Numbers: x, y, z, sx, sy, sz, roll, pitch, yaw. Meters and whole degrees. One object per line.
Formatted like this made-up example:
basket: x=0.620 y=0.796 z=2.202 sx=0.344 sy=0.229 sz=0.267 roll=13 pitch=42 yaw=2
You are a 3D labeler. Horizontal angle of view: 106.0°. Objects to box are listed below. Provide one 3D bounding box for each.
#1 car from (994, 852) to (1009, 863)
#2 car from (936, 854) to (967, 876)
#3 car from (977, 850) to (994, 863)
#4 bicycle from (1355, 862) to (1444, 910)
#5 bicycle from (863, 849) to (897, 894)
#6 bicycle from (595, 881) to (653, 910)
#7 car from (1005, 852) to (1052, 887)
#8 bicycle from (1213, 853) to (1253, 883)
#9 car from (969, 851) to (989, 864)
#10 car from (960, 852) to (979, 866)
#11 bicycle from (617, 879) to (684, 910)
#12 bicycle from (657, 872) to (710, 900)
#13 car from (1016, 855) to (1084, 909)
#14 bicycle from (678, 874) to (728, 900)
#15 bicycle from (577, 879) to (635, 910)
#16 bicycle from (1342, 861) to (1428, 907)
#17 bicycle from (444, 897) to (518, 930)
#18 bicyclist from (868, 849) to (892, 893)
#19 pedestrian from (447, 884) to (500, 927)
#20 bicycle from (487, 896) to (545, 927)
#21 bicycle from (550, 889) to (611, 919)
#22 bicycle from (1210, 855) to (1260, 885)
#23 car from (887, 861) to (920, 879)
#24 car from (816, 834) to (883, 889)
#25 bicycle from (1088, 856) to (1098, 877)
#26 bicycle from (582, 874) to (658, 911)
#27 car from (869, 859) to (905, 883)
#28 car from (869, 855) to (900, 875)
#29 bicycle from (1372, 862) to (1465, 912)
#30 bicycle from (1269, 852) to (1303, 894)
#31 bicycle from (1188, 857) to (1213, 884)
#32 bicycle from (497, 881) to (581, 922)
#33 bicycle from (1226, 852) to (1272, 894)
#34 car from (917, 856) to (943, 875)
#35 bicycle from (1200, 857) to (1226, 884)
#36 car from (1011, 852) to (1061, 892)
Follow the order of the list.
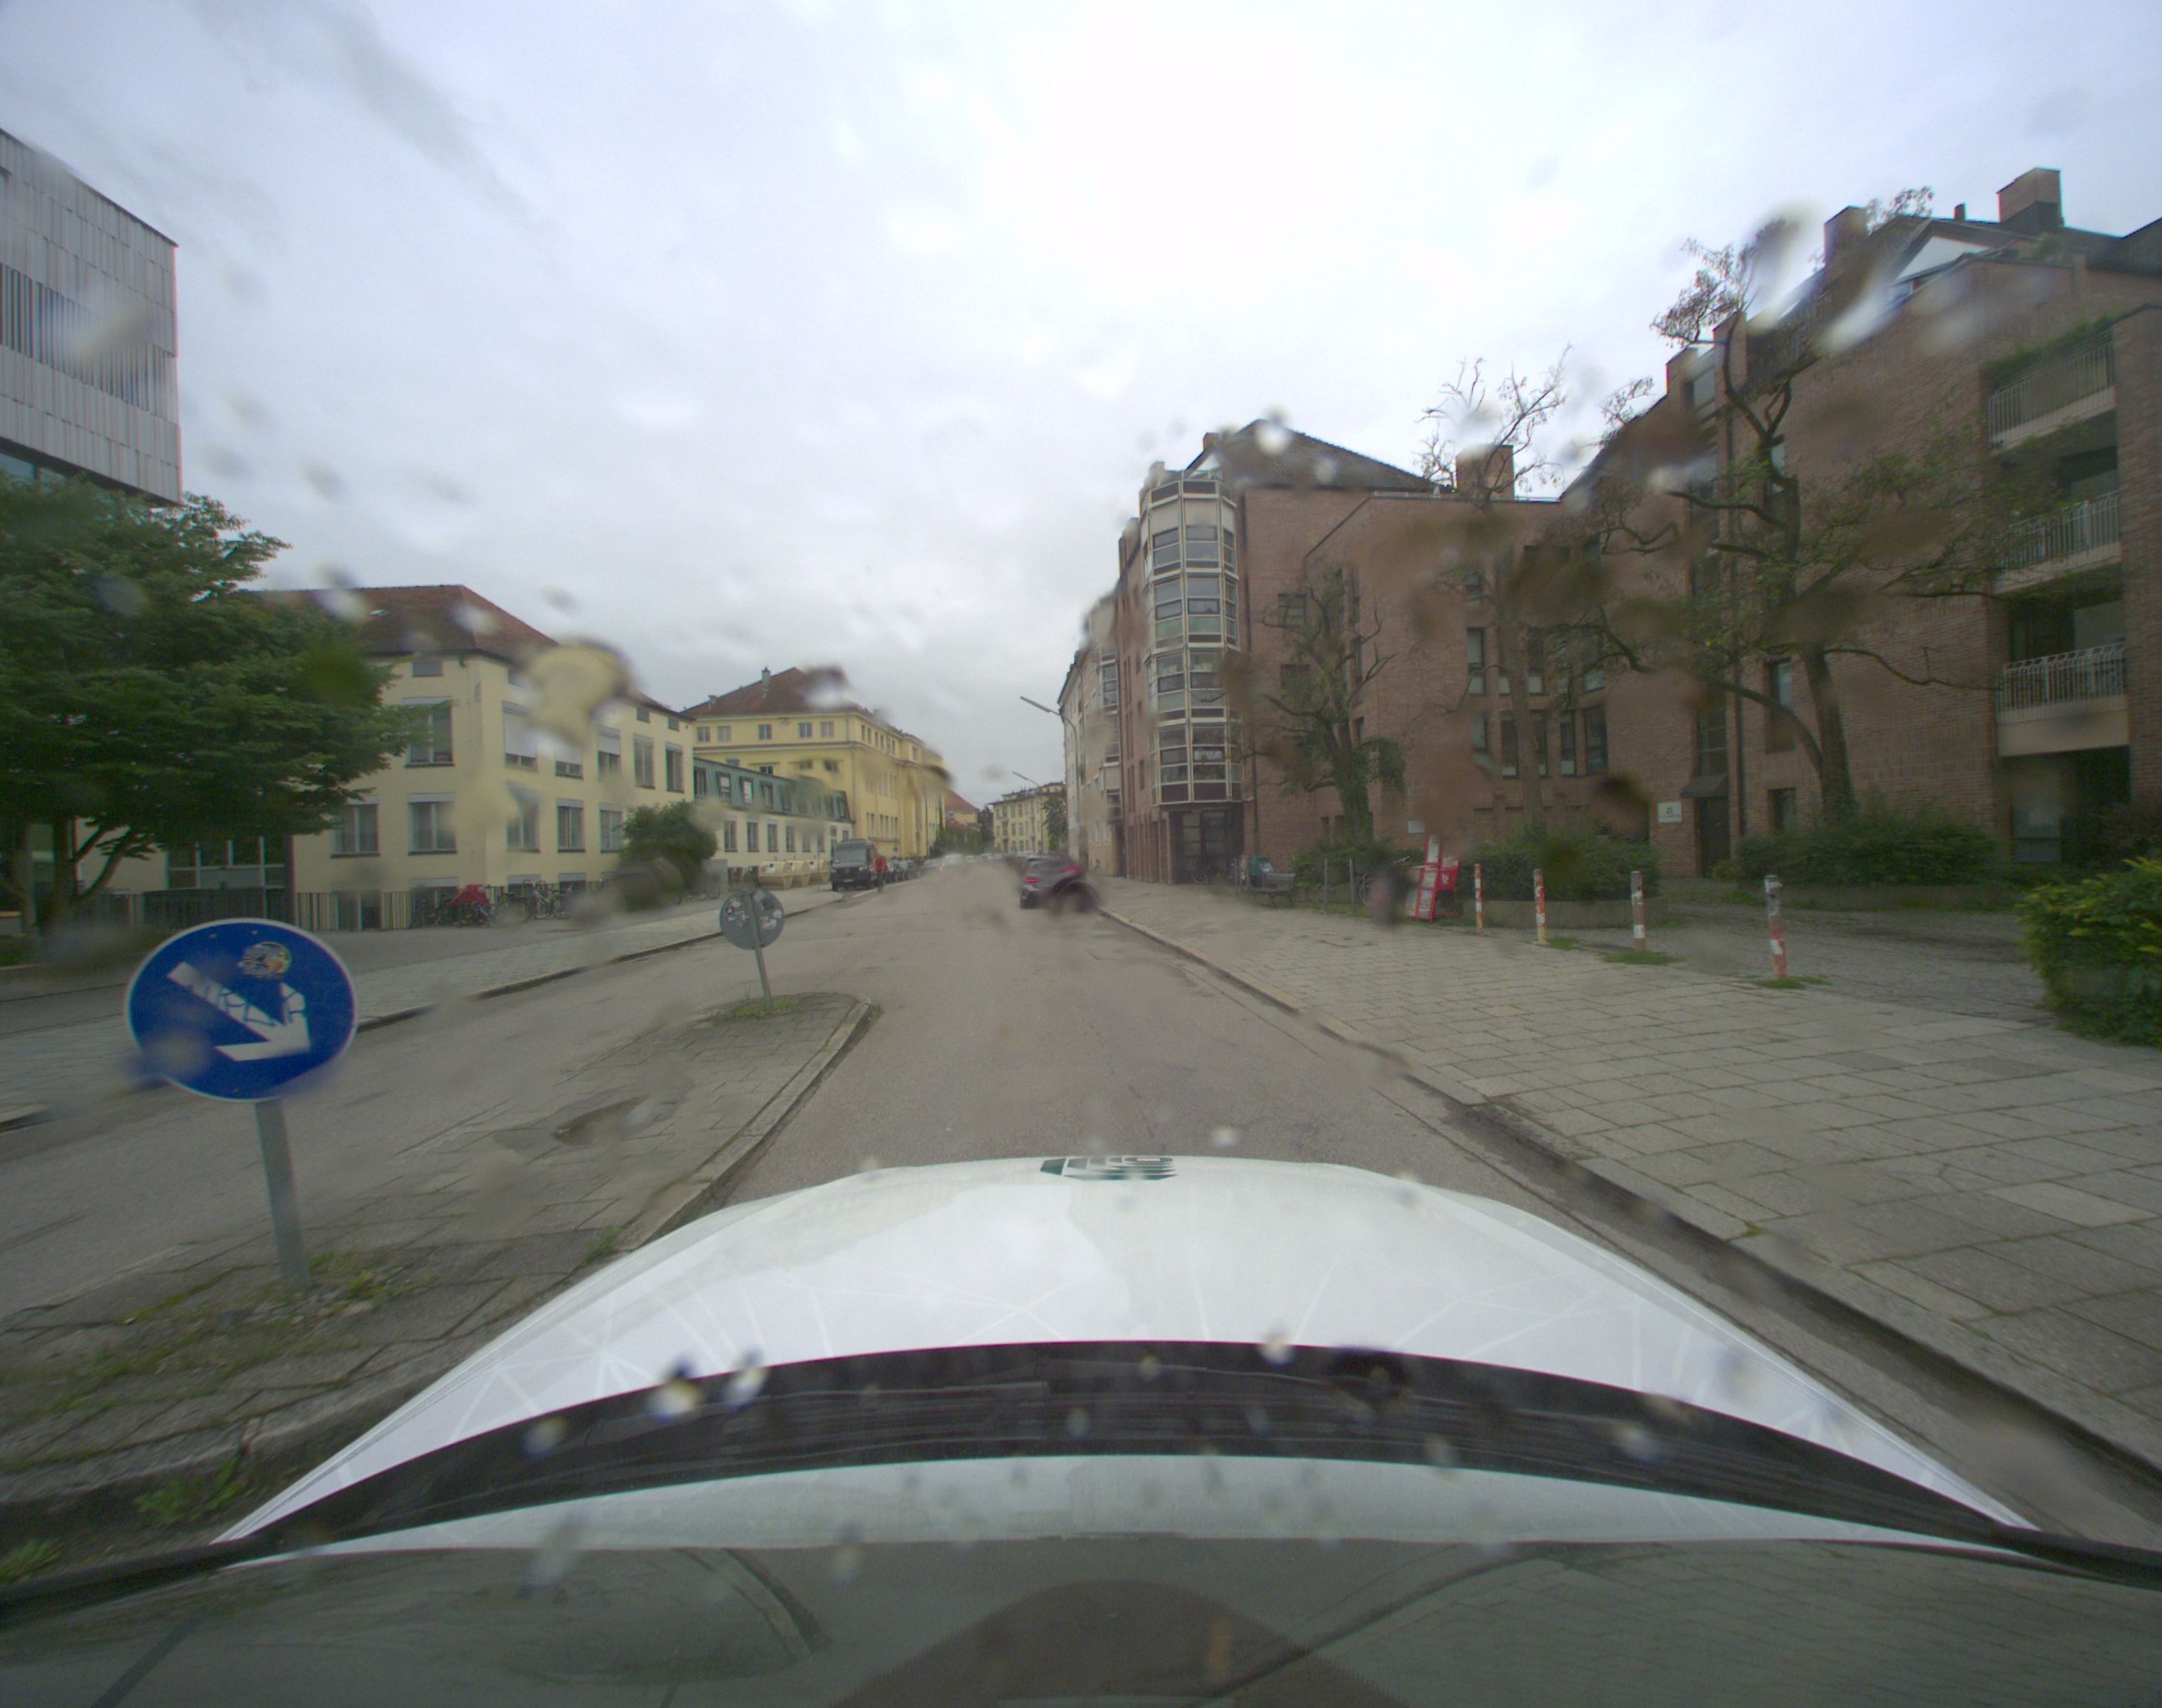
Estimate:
car: x=-12.052 y=0.532 z=123.269 sx=1.988 sy=1.548 sz=3.997 roll=0 pitch=1 yaw=-2
car: x=-10.502 y=0.910 z=66.358 sx=2.022 sy=1.621 sz=4.498 roll=-4 pitch=-1 yaw=-4
car: x=-12.821 y=0.313 z=109.629 sx=1.988 sy=1.548 sz=3.997 roll=0 pitch=1 yaw=-2
bicycle: x=6.736 y=0.664 z=17.248 sx=1.698 sy=0.965 sz=0.545 roll=0 pitch=1 yaw=-5
bicycle: x=-9.605 y=0.787 z=38.983 sx=0.745 sy=2.013 sz=2.848 roll=-4 pitch=1 yaw=1
bicycle: x=-16.736 y=1.512 z=29.836 sx=1.858 sy=1.029 sz=0.540 roll=0 pitch=1 yaw=4
car: x=-2.710 y=0.719 z=41.121 sx=1.963 sy=1.602 sz=4.658 roll=0 pitch=1 yaw=-9
bicycle: x=5.930 y=0.557 z=31.792 sx=1.471 sy=1.147 sz=0.383 roll=0 pitch=1 yaw=0
car: x=-12.510 y=0.375 z=99.996 sx=1.988 sy=1.548 sz=3.997 roll=0 pitch=1 yaw=-2
car: x=-12.910 y=0.553 z=94.321 sx=1.693 sy=1.444 sz=3.507 roll=0 pitch=1 yaw=-1
bicycle: x=-16.541 y=1.557 z=31.294 sx=2.299 sy=1.135 sz=0.582 roll=0 pitch=1 yaw=4
bicycle: x=-16.532 y=1.326 z=33.922 sx=1.947 sy=1.131 sz=0.574 roll=0 pitch=1 yaw=4
car: x=-1.047 y=0.803 z=25.541 sx=1.922 sy=1.512 sz=4.384 roll=0 pitch=0 yaw=-5
bicycle: x=-16.494 y=1.428 z=35.563 sx=1.895 sy=1.092 sz=0.678 roll=0 pitch=1 yaw=5
bicycle: x=-16.607 y=1.408 z=28.474 sx=1.782 sy=1.033 sz=0.508 roll=0 pitch=1 yaw=4
bicycle: x=6.679 y=0.656 z=17.917 sx=1.698 sy=0.965 sz=0.545 roll=0 pitch=1 yaw=-5
bicycle: x=-16.533 y=1.629 z=22.457 sx=1.713 sy=0.862 sz=0.439 roll=0 pitch=1 yaw=1
bicyclist: x=-9.611 y=0.822 z=38.993 sx=0.764 sy=2.013 sz=0.768 roll=-5 pitch=1 yaw=0
pedestrian: x=-17.231 y=1.448 z=23.125 sx=0.716 sy=1.163 sz=1.040 roll=0 pitch=1 yaw=0
bicycle: x=-16.241 y=1.647 z=23.415 sx=1.367 sy=0.862 sz=0.439 roll=0 pitch=1 yaw=1
bicycle: x=-16.488 y=1.642 z=26.829 sx=1.666 sy=0.916 sz=0.596 roll=0 pitch=1 yaw=5
bicycle: x=5.922 y=0.599 z=31.340 sx=1.842 sy=1.147 sz=0.488 roll=0 pitch=1 yaw=0
car: x=-13.247 y=1.190 z=60.919 sx=1.522 sy=1.202 sz=3.744 roll=0 pitch=1 yaw=3
car: x=-12.580 y=0.437 z=44.726 sx=2.419 sy=2.715 sz=5.939 roll=-3 pitch=-1 yaw=-6
bicycle: x=0.756 y=0.770 z=51.946 sx=0.467 sy=1.288 sz=2.671 roll=0 pitch=1 yaw=-4
bicycle: x=-16.526 y=1.384 z=29.215 sx=2.541 sy=1.206 sz=0.425 roll=-2 pitch=1 yaw=4
car: x=-13.253 y=1.139 z=55.814 sx=1.695 sy=1.453 sz=3.737 roll=0 pitch=1 yaw=-3
car: x=-17.406 y=0.994 z=72.284 sx=1.713 sy=1.660 sz=3.749 roll=0 pitch=1 yaw=1
bicycle: x=6.828 y=0.656 z=16.517 sx=1.698 sy=0.965 sz=0.545 roll=0 pitch=1 yaw=-5
bicycle: x=5.958 y=0.540 z=23.623 sx=0.416 sy=1.173 sz=1.370 roll=0 pitch=1 yaw=39
bicycle: x=4.817 y=0.656 z=32.935 sx=0.485 sy=1.060 sz=1.990 roll=0 pitch=-1 yaw=-7
bicycle: x=-16.771 y=1.461 z=25.231 sx=2.095 sy=1.227 sz=0.788 roll=0 pitch=1 yaw=5
bicycle: x=5.304 y=0.596 z=25.879 sx=0.534 sy=1.248 sz=2.404 roll=0 pitch=-1 yaw=-11
car: x=-13.196 y=0.991 z=71.328 sx=1.768 sy=1.550 sz=3.775 roll=0 pitch=1 yaw=-2
bicycle: x=5.348 y=0.654 z=33.005 sx=0.485 sy=1.060 sz=1.991 roll=0 pitch=0 yaw=-7
car: x=-2.034 y=0.752 z=36.091 sx=1.829 sy=1.602 sz=4.254 roll=0 pitch=1 yaw=-9
